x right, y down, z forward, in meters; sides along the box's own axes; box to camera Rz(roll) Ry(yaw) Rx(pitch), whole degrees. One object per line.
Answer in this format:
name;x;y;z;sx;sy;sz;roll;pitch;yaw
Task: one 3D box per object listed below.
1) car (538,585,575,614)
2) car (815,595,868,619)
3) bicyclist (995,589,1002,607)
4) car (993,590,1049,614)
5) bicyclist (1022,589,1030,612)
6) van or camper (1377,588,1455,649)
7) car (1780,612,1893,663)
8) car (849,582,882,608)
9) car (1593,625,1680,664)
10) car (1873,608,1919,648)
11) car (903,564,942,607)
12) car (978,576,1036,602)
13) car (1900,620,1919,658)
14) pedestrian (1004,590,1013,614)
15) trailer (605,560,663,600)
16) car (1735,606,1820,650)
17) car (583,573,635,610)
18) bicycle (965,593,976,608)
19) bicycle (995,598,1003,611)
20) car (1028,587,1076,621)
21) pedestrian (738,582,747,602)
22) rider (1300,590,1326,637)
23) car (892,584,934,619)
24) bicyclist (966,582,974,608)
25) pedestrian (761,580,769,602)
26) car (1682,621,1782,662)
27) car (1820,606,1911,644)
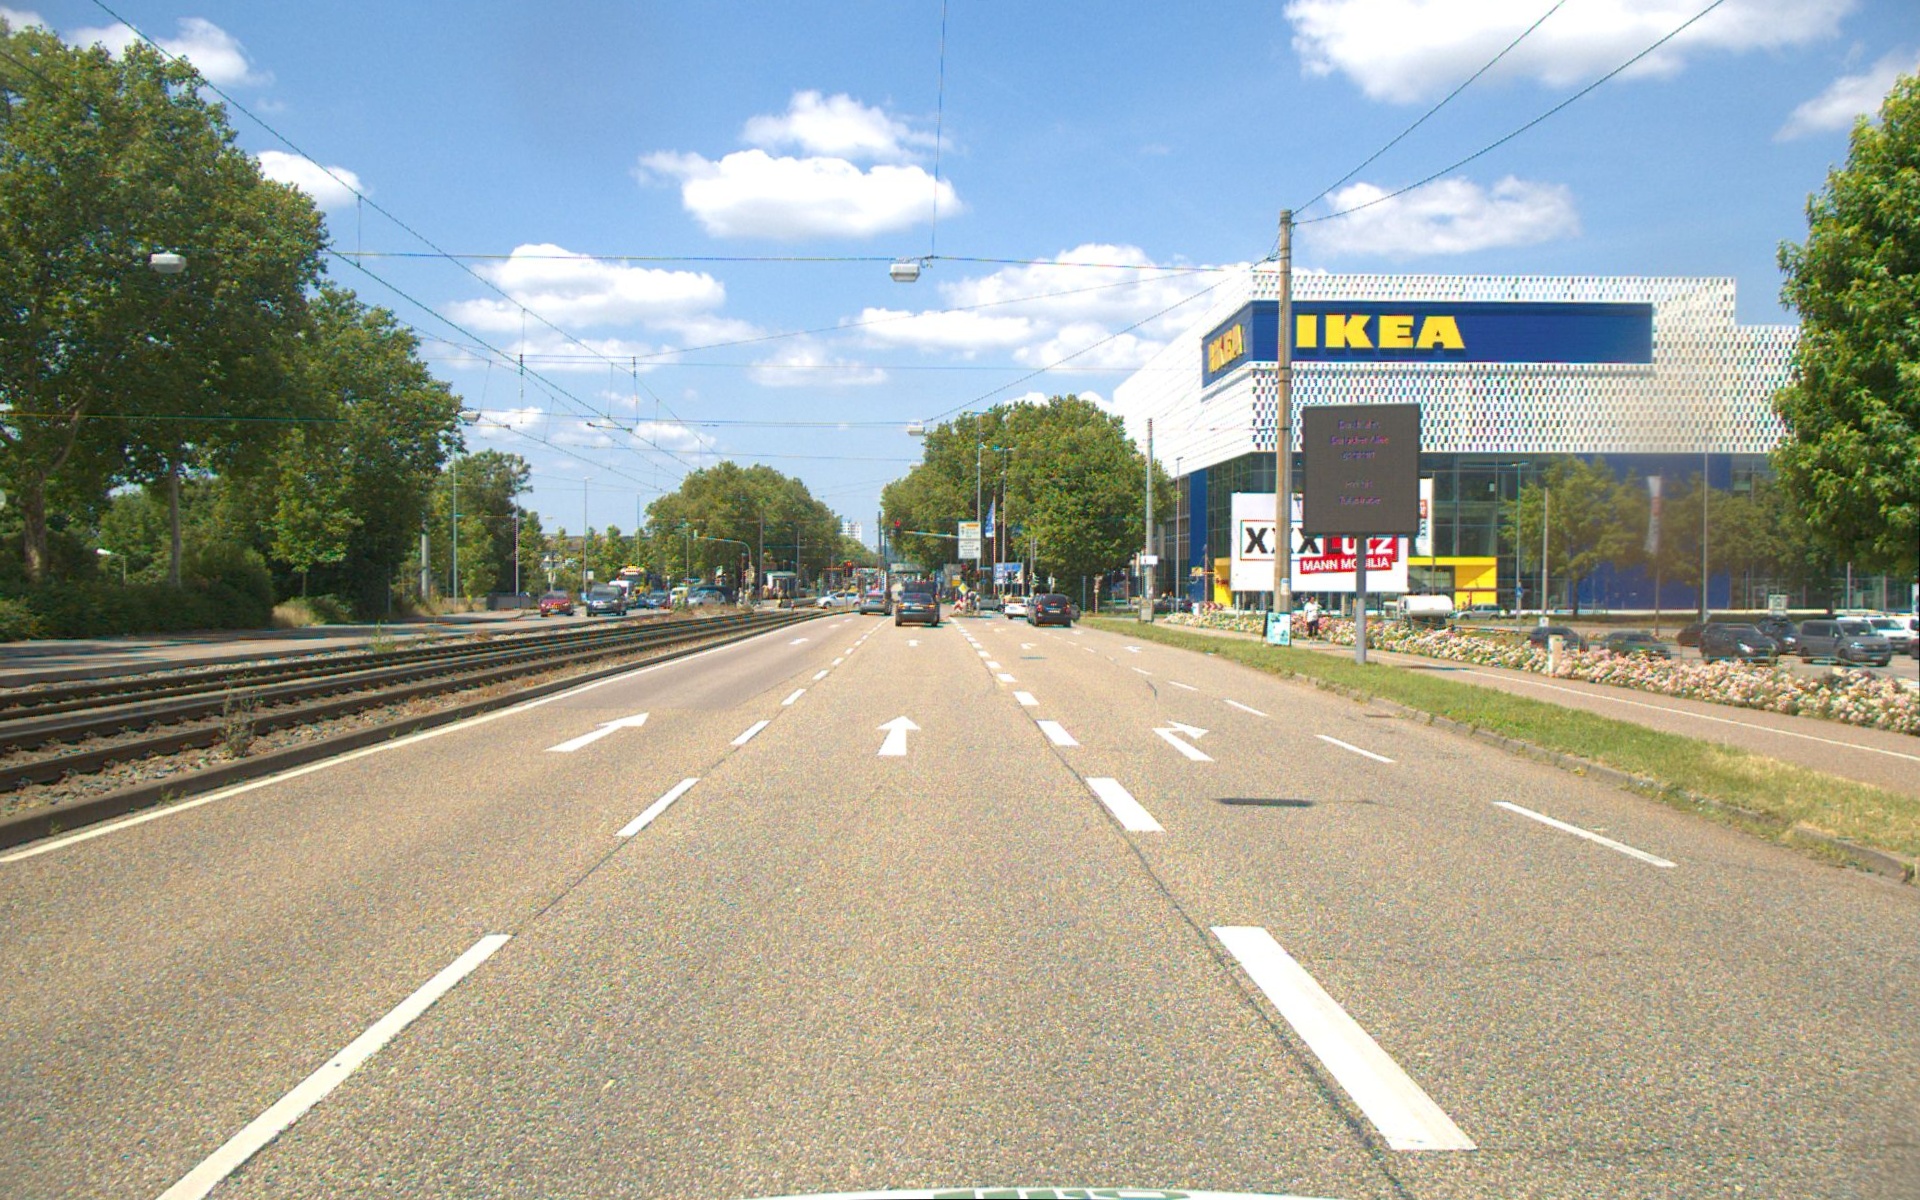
car;-24.684;-0.021;101.331;1.958;1.699;4.455;-1;1;-11
car;-9.578;0.556;133.940;3.926;1.881;1.989;0;1;-19
bicyclist;2.782;-0.143;119.181;0.461;1.214;0.791;1;0;1
car;4.070;0.146;109.596;1.956;1.512;4.383;3;0;28
bicyclist;5.162;0.013;129.324;0.517;1.795;0.828;1;0;12
van or camper;24.772;0.955;90.172;2.455;3.073;7.225;2;0;2
car;38.727;1.609;73.264;1.953;2.049;5.533;2;0;-1
car;-5.952;-0.351;104.576;1.953;1.512;3.999;2;0;-2
car;29.535;1.916;72.350;1.953;1.523;4.302;-2;0;-1
car;51.101;1.480;88.233;1.953;2.042;4.999;2;0;-1
car;-1.859;-0.733;81.388;1.799;1.983;4.000;1;2;-2
car;3.916;-0.914;137.758;4.335;1.951;1.987;2;0;-22
car;43.778;1.781;72.745;1.953;1.638;4.999;2;0;-1
pedestrian;3.354;0.143;114.854;0.542;1.663;0.433;1;0;1
trailer;-30.815;-1.807;157.089;2.711;3.580;15.872;1;0;-2
car;43.728;1.470;88.592;1.953;2.172;4.999;2;0;-1
car;-19.055;-0.473;89.897;1.954;1.862;4.966;-2;1;-3
bicycle;0.748;0.033;117.458;0.674;1.011;2.751;1;0;-1
bicycle;2.806;0.337;119.277;0.538;0.892;1.698;1;0;1
car;4.394;0.173;79.729;1.953;1.512;3.999;2;0;-2
pedestrian;-18.406;-0.692;139.855;0.672;1.666;0.572;1;0;-5
rider;11.283;0.417;52.890;0.655;1.483;0.618;1;0;-2
car;-2.021;0.038;71.671;1.756;1.480;3.999;0;1;-1
bicyclist;0.687;-0.357;117.387;0.518;1.820;1.088;1;0;-1
pedestrian;-18.321;-0.844;155.342;0.672;2.049;0.572;1;0;-6
car;34.016;1.804;73.022;1.953;1.577;4.999;2;0;-1
car;48.253;1.316;88.258;1.953;1.885;4.999;2;0;-1
